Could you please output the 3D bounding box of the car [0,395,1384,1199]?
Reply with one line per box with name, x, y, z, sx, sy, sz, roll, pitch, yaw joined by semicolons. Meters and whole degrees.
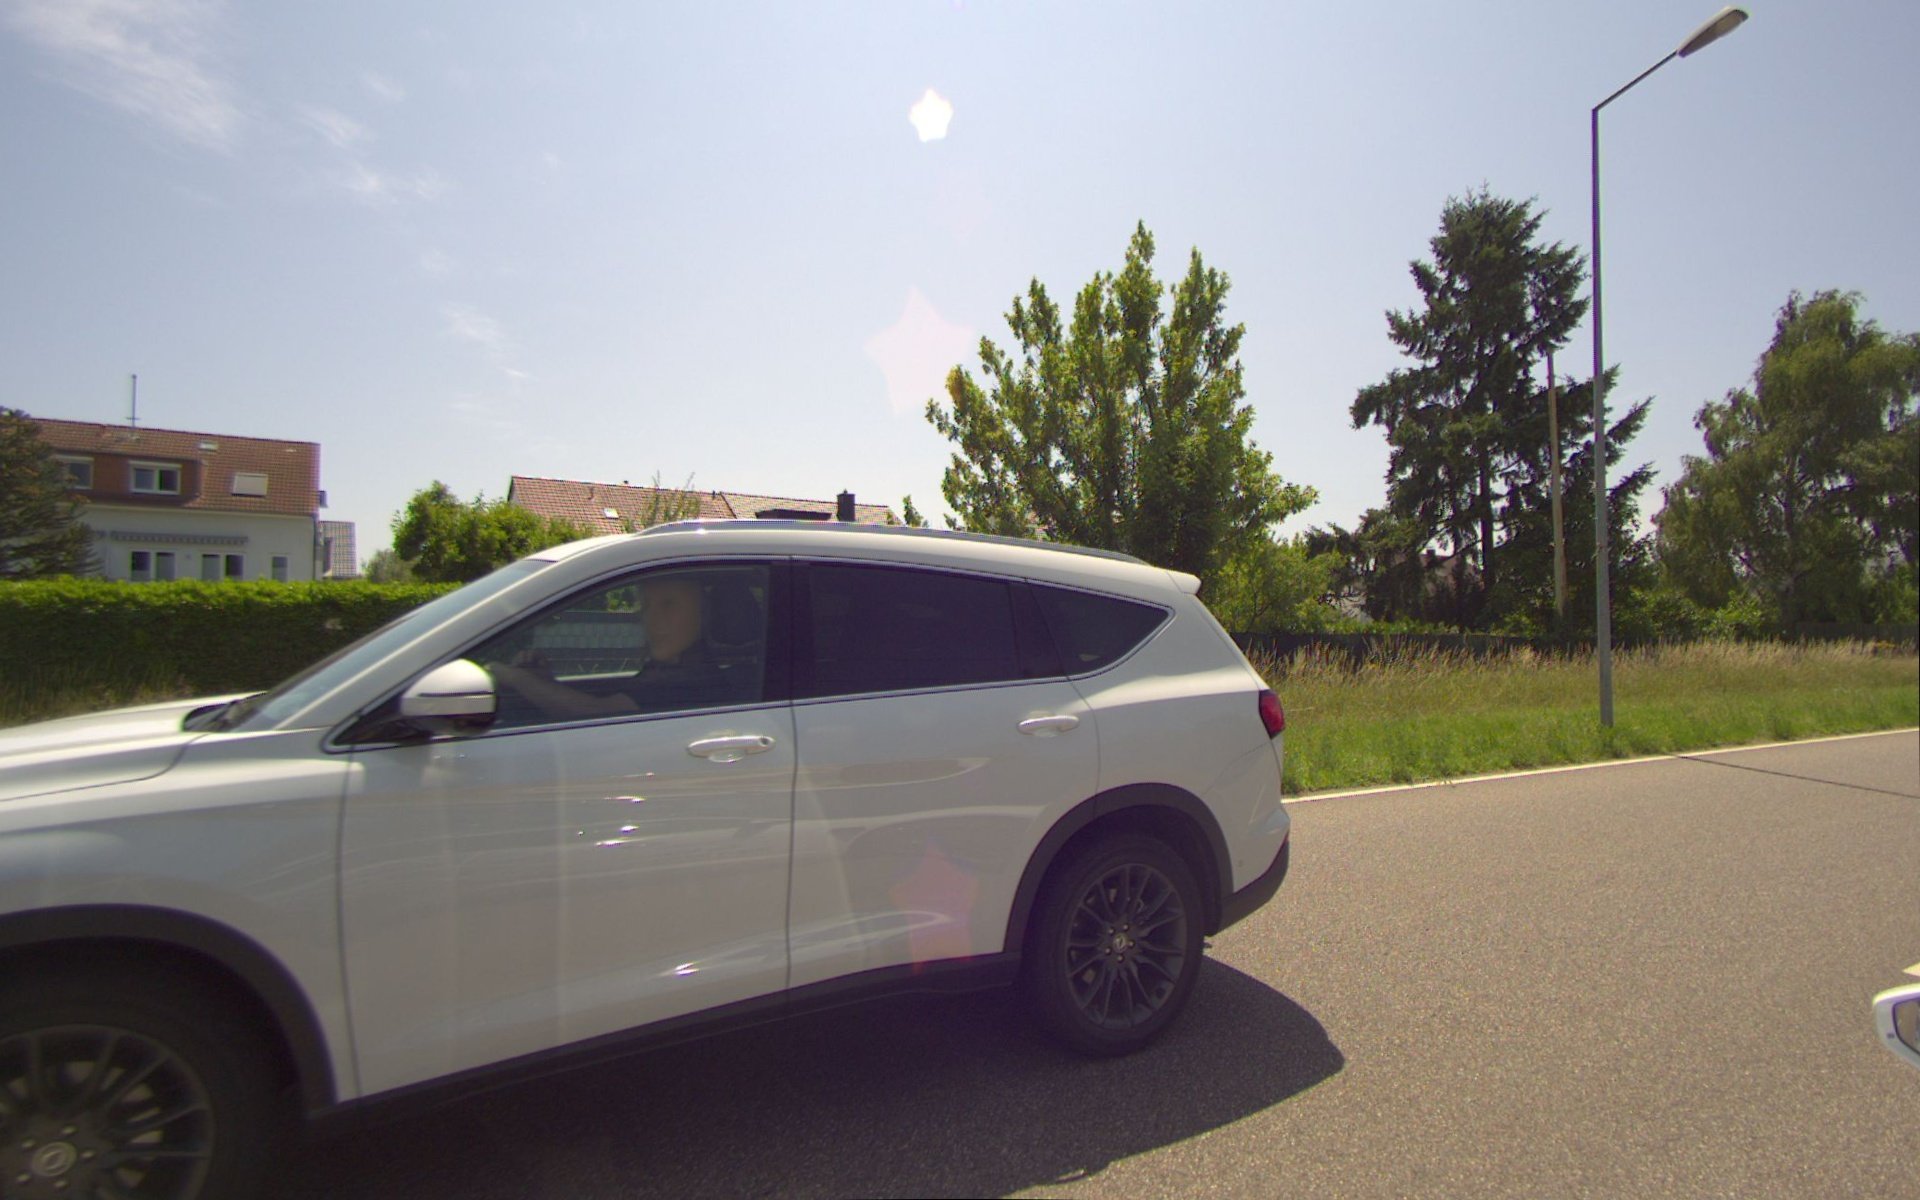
car;-0.864;0.589;3.500;4.656;1.819;1.927;1;-2;-30
